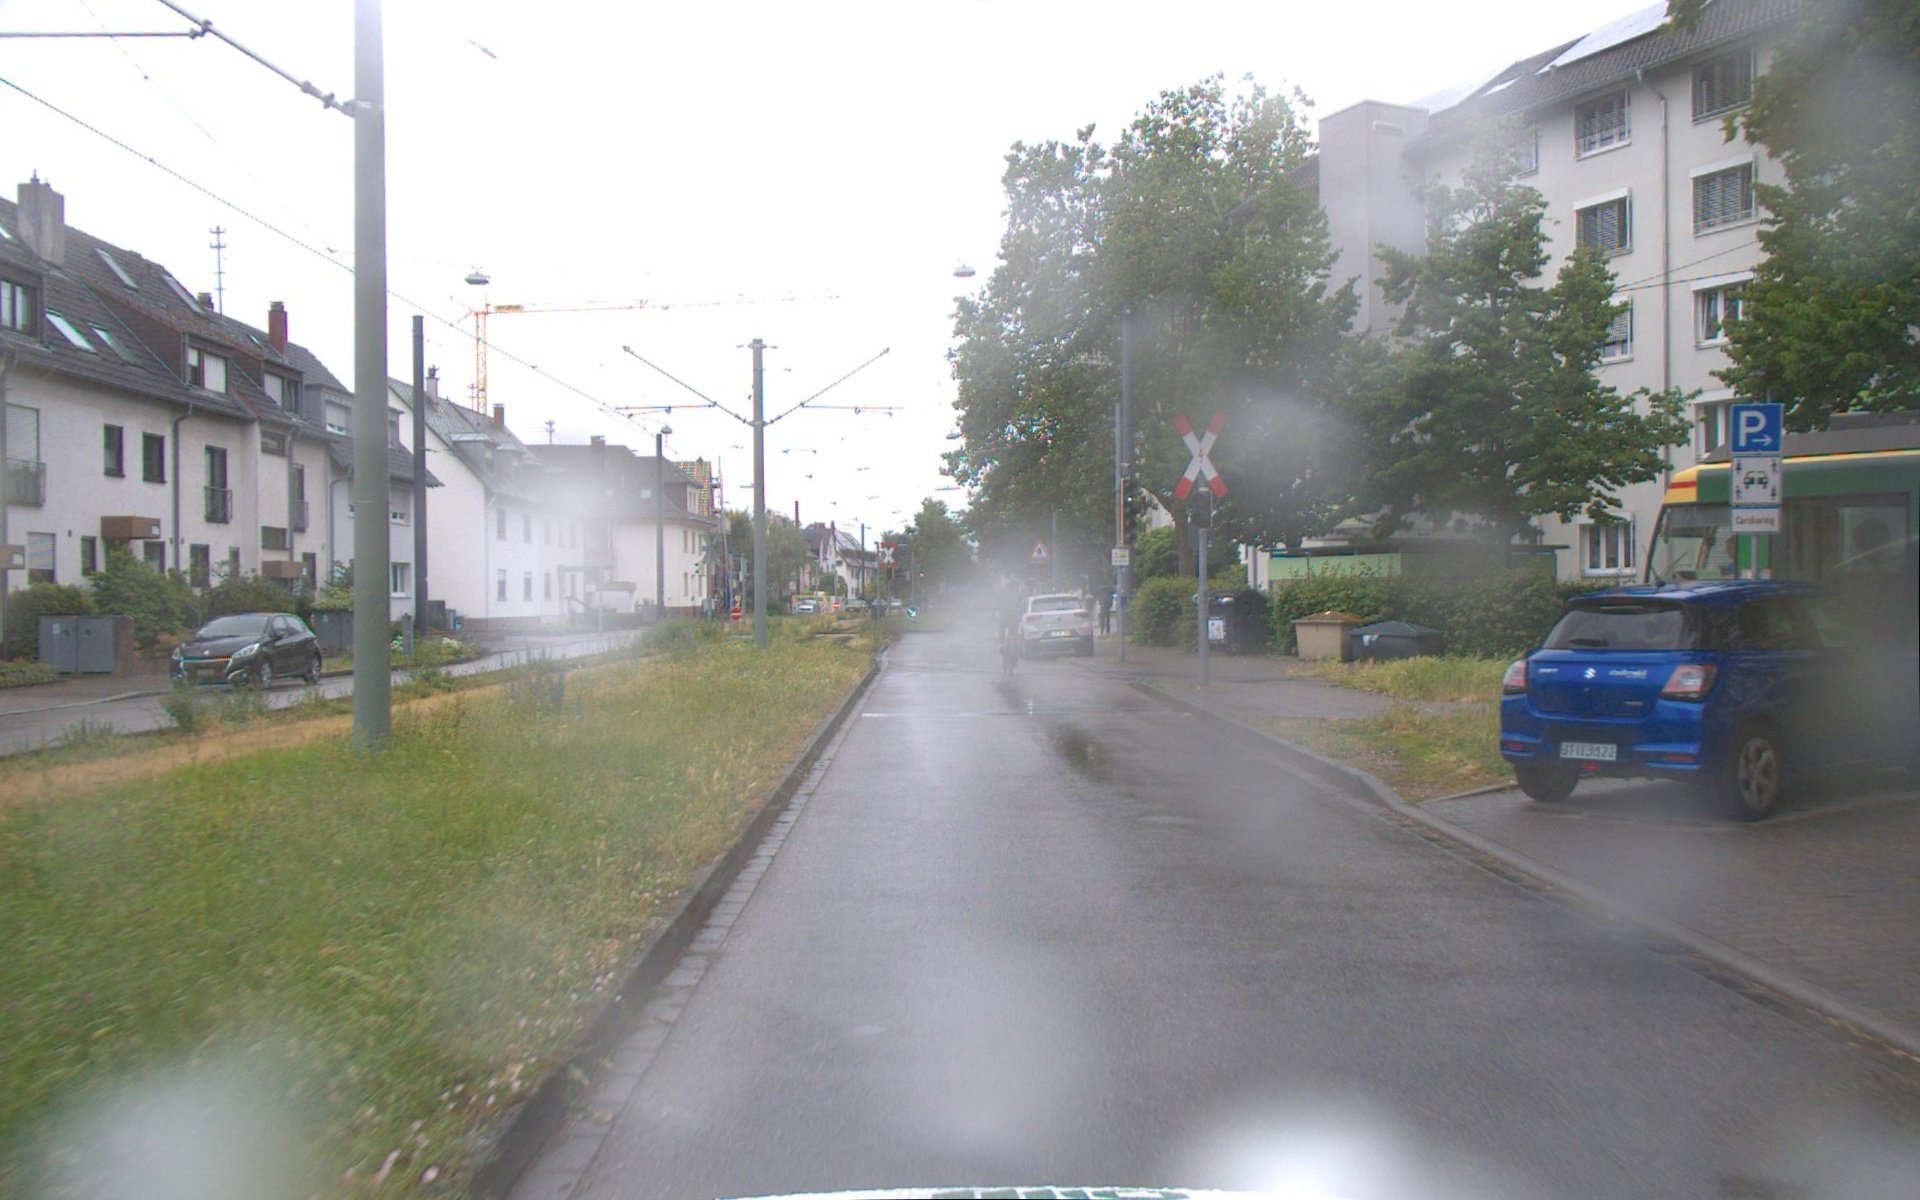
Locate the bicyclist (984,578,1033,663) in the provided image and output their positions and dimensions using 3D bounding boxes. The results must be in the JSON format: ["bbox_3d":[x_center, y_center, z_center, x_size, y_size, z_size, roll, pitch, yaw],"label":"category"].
[{"bbox_3d":[0.924,0.397,31.641,0.814,1.585,0.913,-1,-1,-4],"label":"bicyclist"}]

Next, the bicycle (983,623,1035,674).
[{"bbox_3d":[0.926,0.924,31.898,0.805,0.928,1.984,-2,-1,-4],"label":"bicycle"}]

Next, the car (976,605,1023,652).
[{"bbox_3d":[1.840,1.331,77.676,1.903,2.048,3.998,-3,-1,-2],"label":"car"}]

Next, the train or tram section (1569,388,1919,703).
[{"bbox_3d":[14.154,-0.654,17.963,2.693,3.653,14.500,1,-2,-43],"label":"train or tram section"}]

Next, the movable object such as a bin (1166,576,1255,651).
[{"bbox_3d":[6.015,0.315,39.751,1.529,1.734,1.489,-1,0,-25],"label":"movable object such as a bin"}]

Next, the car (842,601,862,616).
[{"bbox_3d":[-12.335,0.937,188.940,1.952,1.571,3.999,-1,-2,0],"label":"car"}]

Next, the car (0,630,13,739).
[{"bbox_3d":[-13.566,1.069,20.001,1.568,1.449,4.665,-1,-2,-1],"label":"car"}]

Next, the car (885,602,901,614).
[{"bbox_3d":[-9.578,1.103,236.690,1.952,1.571,3.999,-1,-2,0],"label":"car"}]

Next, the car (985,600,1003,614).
[{"bbox_3d":[4.031,0.862,195.246,1.953,1.518,3.999,-1,-2,-1],"label":"car"}]

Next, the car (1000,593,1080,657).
[{"bbox_3d":[2.251,0.720,47.621,1.903,1.680,3.998,-3,-1,-2],"label":"car"}]

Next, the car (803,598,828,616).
[{"bbox_3d":[-13.785,0.696,158.151,1.952,1.571,3.999,-1,-2,0],"label":"car"}]

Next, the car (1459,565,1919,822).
[{"bbox_3d":[5.705,0.526,11.934,3.950,1.509,1.978,-2,2,-33],"label":"car"}]

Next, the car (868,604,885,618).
[{"bbox_3d":[-10.820,1.436,214.587,1.952,1.571,3.999,-1,-2,0],"label":"car"}]

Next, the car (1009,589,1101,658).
[{"bbox_3d":[2.369,0.589,42.113,1.915,1.580,3.998,-3,-1,-2],"label":"car"}]

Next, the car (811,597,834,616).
[{"bbox_3d":[-13.571,0.674,163.429,1.952,1.735,3.999,-1,-2,0],"label":"car"}]

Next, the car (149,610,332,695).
[{"bbox_3d":[-13.956,1.030,32.348,1.839,1.530,4.132,-1,-2,-1],"label":"car"}]

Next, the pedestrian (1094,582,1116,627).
[{"bbox_3d":[5.674,0.181,64.661,0.732,1.746,0.751,-3,-1,11],"label":"pedestrian"}]
